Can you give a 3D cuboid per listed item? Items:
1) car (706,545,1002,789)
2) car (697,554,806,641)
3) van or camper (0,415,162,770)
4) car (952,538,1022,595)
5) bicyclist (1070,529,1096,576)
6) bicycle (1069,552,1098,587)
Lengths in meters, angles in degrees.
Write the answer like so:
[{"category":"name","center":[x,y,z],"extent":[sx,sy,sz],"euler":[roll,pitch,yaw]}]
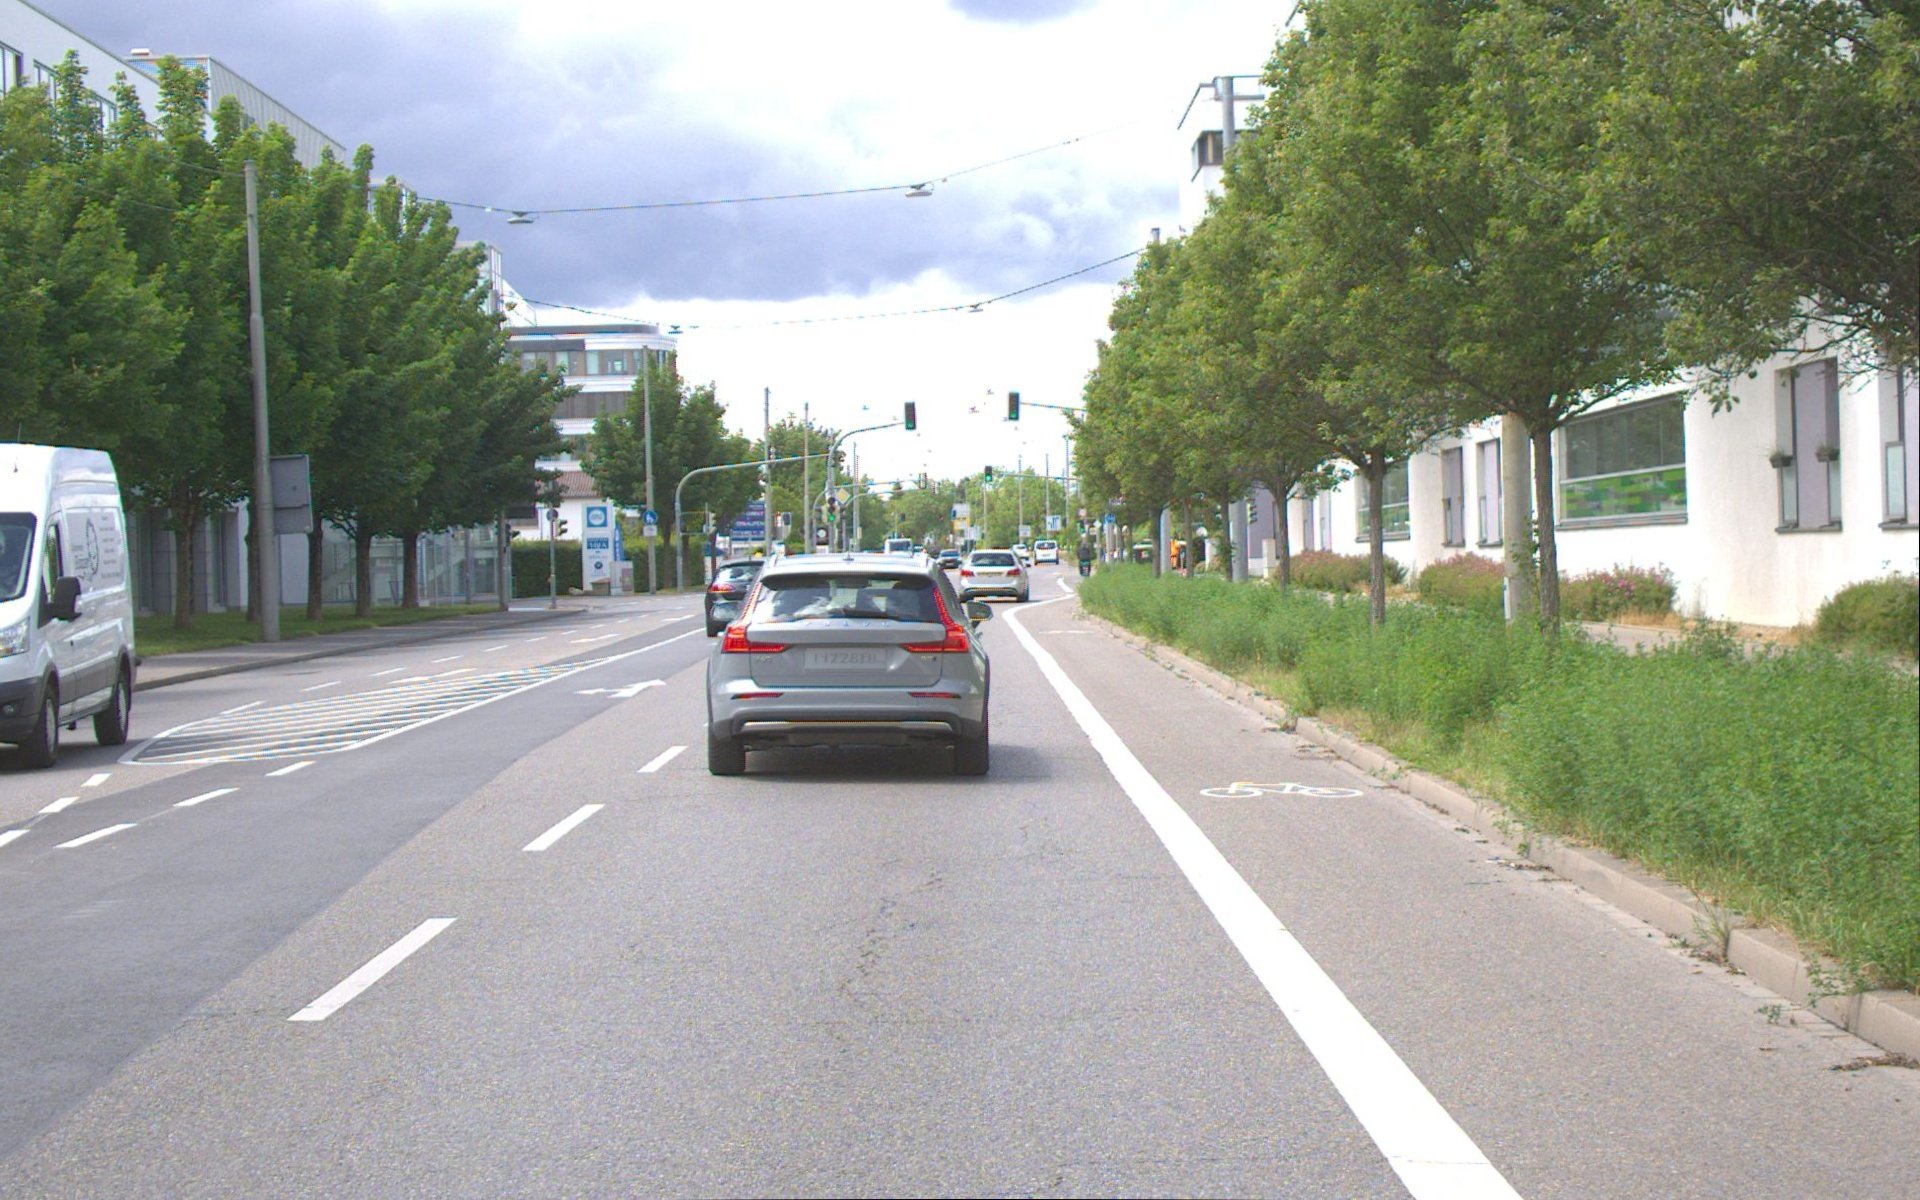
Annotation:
[{"category":"car","center":[-0.713,0.391,23.763],"extent":[1.854,1.508,4.000],"euler":[-1,1,-1]},{"category":"car","center":[-3.887,-0.073,64.659],"extent":[1.854,1.508,4.000],"euler":[-1,1,-1]},{"category":"van or camper","center":[-8.379,-0.063,29.458],"extent":[1.993,2.724,6.054],"euler":[-3,1,-4]},{"category":"car","center":[0.728,-0.949,96.479],"extent":[1.845,1.508,4.000],"euler":[-1,1,-1]},{"category":"bicyclist","center":[5.388,-2.073,150.750],"extent":[1.014,2.007,1.131],"euler":[-3,1,-1]},{"category":"bicycle","center":[5.417,-1.327,150.836],"extent":[1.067,1.448,2.978],"euler":[-3,1,-1]}]
